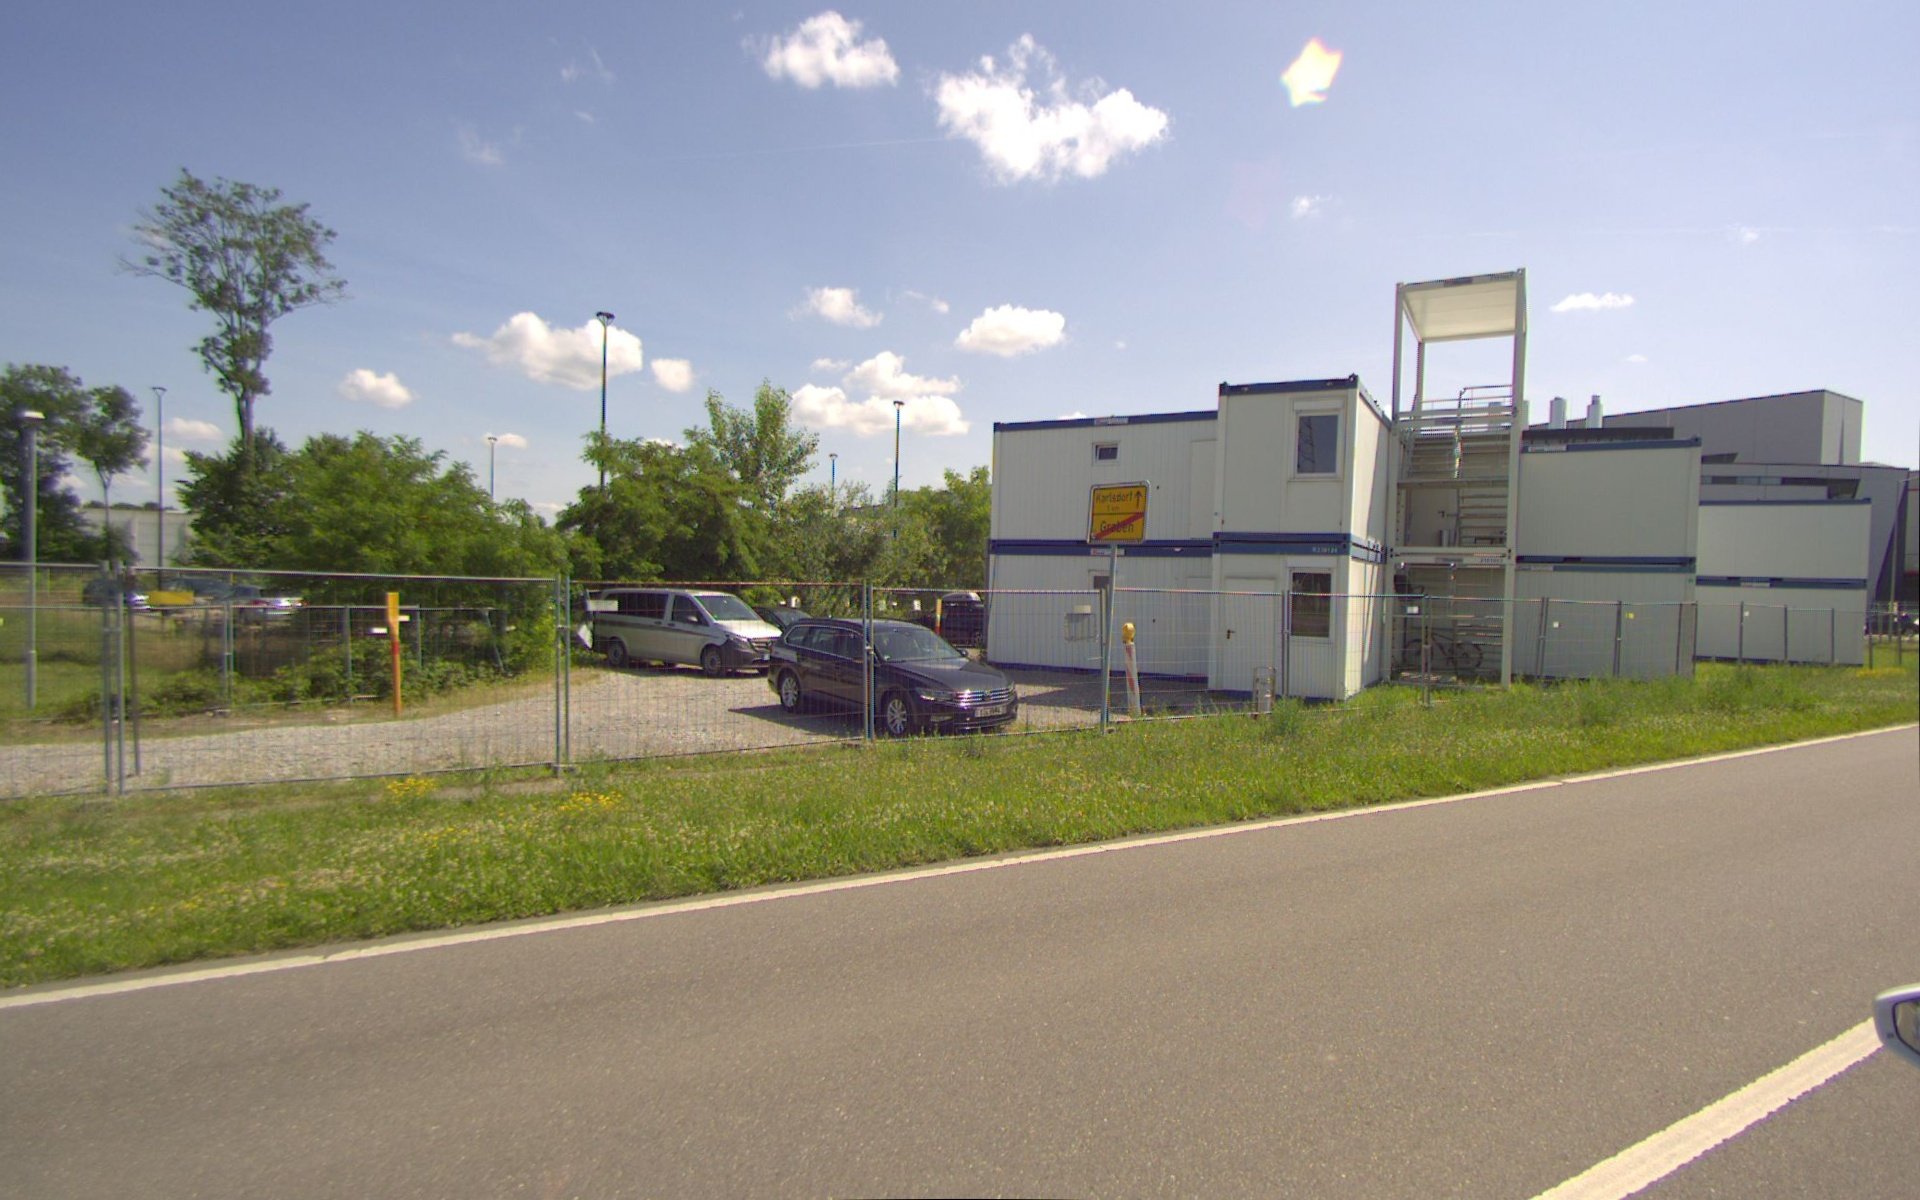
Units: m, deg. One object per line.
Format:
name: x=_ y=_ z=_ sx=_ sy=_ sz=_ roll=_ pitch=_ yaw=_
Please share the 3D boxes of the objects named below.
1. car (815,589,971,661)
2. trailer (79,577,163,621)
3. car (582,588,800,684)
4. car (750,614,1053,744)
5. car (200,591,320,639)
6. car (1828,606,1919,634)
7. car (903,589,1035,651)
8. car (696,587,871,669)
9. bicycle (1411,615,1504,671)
car: x=-2.025 y=0.682 z=30.158 sx=4.236 sy=1.892 sz=1.996 roll=2 pitch=2 yaw=30
trailer: x=-38.080 y=-0.036 z=45.549 sx=3.934 sy=1.905 sz=1.993 roll=1 pitch=0 yaw=36
car: x=-6.308 y=0.749 z=23.390 sx=4.931 sy=1.892 sz=1.996 roll=2 pitch=2 yaw=30
car: x=-1.064 y=1.024 z=15.044 sx=1.984 sy=1.436 sz=4.926 roll=0 pitch=1 yaw=-40
car: x=-25.017 y=0.514 z=35.874 sx=3.928 sy=1.574 sz=1.997 roll=1 pitch=0 yaw=29
car: x=57.578 y=1.242 z=63.348 sx=3.922 sy=1.605 sz=2.000 roll=1 pitch=0 yaw=-2
car: x=0.305 y=0.658 z=35.702 sx=4.236 sy=1.974 sz=1.996 roll=2 pitch=2 yaw=30
car: x=-4.704 y=0.674 z=26.666 sx=4.236 sy=1.892 sz=1.996 roll=2 pitch=2 yaw=30
bicycle: x=12.331 y=1.049 z=24.914 sx=2.009 sy=1.318 sz=0.607 roll=1 pitch=0 yaw=29
